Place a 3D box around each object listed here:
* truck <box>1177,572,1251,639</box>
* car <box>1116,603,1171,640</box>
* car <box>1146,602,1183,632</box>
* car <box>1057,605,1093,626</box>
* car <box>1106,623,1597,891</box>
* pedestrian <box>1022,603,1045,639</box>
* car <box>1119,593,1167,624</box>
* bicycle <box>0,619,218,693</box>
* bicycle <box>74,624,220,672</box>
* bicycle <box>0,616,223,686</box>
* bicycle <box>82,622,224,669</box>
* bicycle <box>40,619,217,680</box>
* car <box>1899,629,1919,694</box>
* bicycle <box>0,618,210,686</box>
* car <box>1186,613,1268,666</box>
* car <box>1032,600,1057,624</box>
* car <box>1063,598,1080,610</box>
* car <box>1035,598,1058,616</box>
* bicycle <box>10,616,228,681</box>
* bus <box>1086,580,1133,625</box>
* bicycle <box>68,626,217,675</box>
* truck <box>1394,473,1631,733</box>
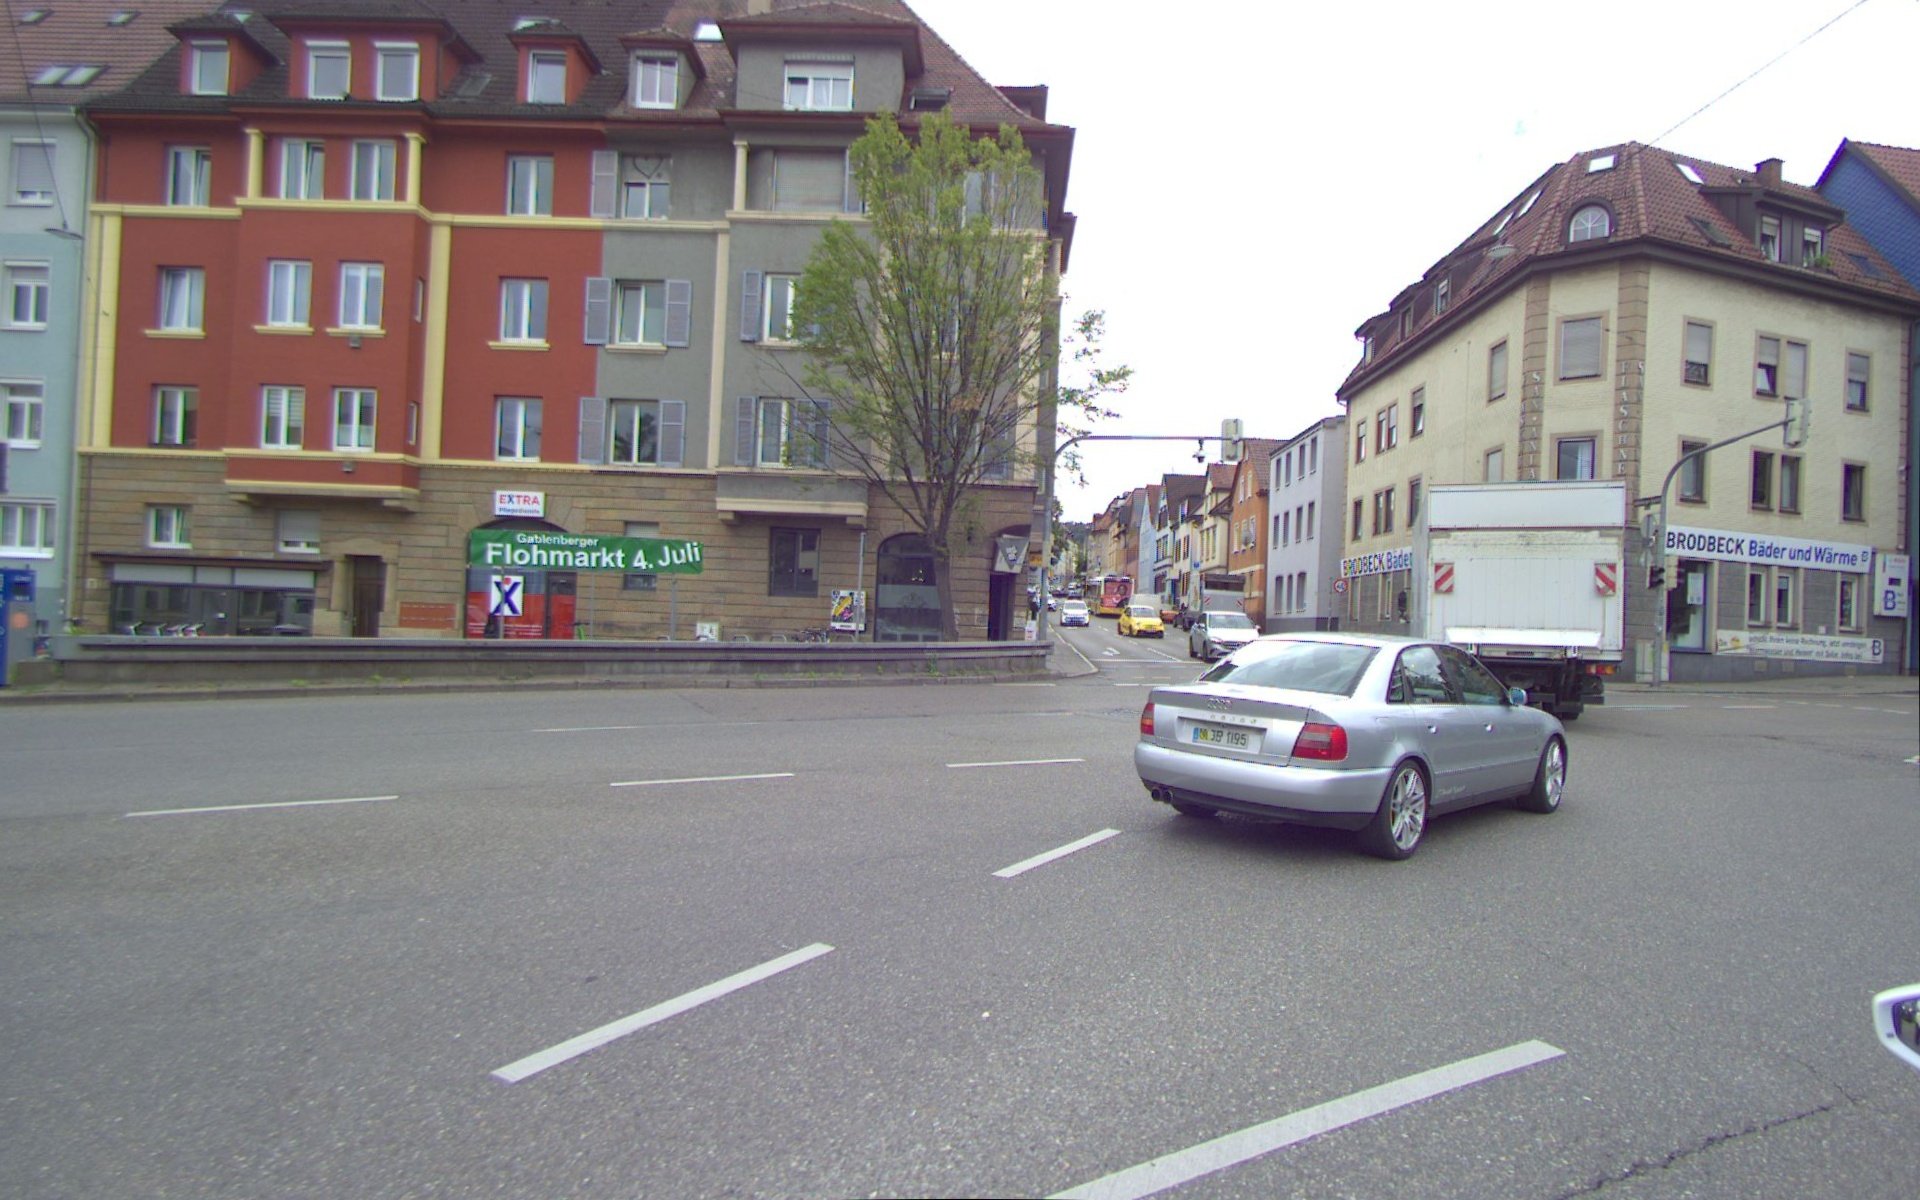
[{"bbox_3d":[13.830,0.270,55.037,2.646,3.399,5.439,2,1,1],"label":"truck"},{"bbox_3d":[8.907,1.019,49.040,1.961,1.623,4.000,1,0,0],"label":"car"},{"bbox_3d":[14.721,1.207,72.594,1.960,2.040,4.001,1,0,2],"label":"car"},{"bbox_3d":[6.711,0.888,58.943,1.727,1.142,3.671,1,0,1],"label":"car"},{"bbox_3d":[3.083,0.910,7.476,4.094,1.383,1.615,1,2,-40],"label":"car"},{"bbox_3d":[3.237,0.924,44.254,0.812,1.548,0.850,1,0,-6],"label":"pedestrian"},{"bbox_3d":[11.336,0.532,62.648,2.025,1.823,4.334,1,0,-2],"label":"car"},{"bbox_3d":[-15.283,0.973,17.836,3.324,1.218,0.811,1,0,-35],"label":"bicycle"},{"bbox_3d":[-19.353,1.127,23.995,2.634,1.084,0.629,1,0,-34],"label":"bicycle"},{"bbox_3d":[-15.917,0.935,18.842,3.324,1.218,0.811,1,0,-35],"label":"bicycle"},{"bbox_3d":[-19.670,1.108,24.561,2.634,1.084,0.629,1,0,-34],"label":"bicycle"},{"bbox_3d":[-17.635,1.036,21.422,2.806,1.218,0.811,1,0,-35],"label":"bicycle"},{"bbox_3d":[24.546,1.479,23.358,4.140,1.496,1.720,1,-2,-7],"label":"car"},{"bbox_3d":[-16.698,0.994,19.522,3.324,1.218,0.897,1,0,-35],"label":"bicycle"},{"bbox_3d":[8.282,1.191,31.486,1.843,1.489,3.978,2,-1,6],"label":"car"},{"bbox_3d":[7.555,1.032,90.111,1.960,2.040,4.000,1,0,1],"label":"car"},{"bbox_3d":[14.473,0.514,130.188,1.810,1.556,4.001,1,0,2],"label":"car"},{"bbox_3d":[7.741,0.626,90.256,1.810,1.556,4.001,1,0,2],"label":"car"},{"bbox_3d":[-17.082,0.966,20.578,3.324,1.218,0.897,1,0,-35],"label":"bicycle"},{"bbox_3d":[11.606,0.164,78.685,2.754,3.286,7.664,1,0,2],"label":"bus"},{"bbox_3d":[-19.005,1.159,23.452,2.635,1.084,0.629,1,0,-35],"label":"bicycle"},{"bbox_3d":[9.524,0.045,18.274,2.681,3.591,8.419,1,0,22],"label":"truck"}]
